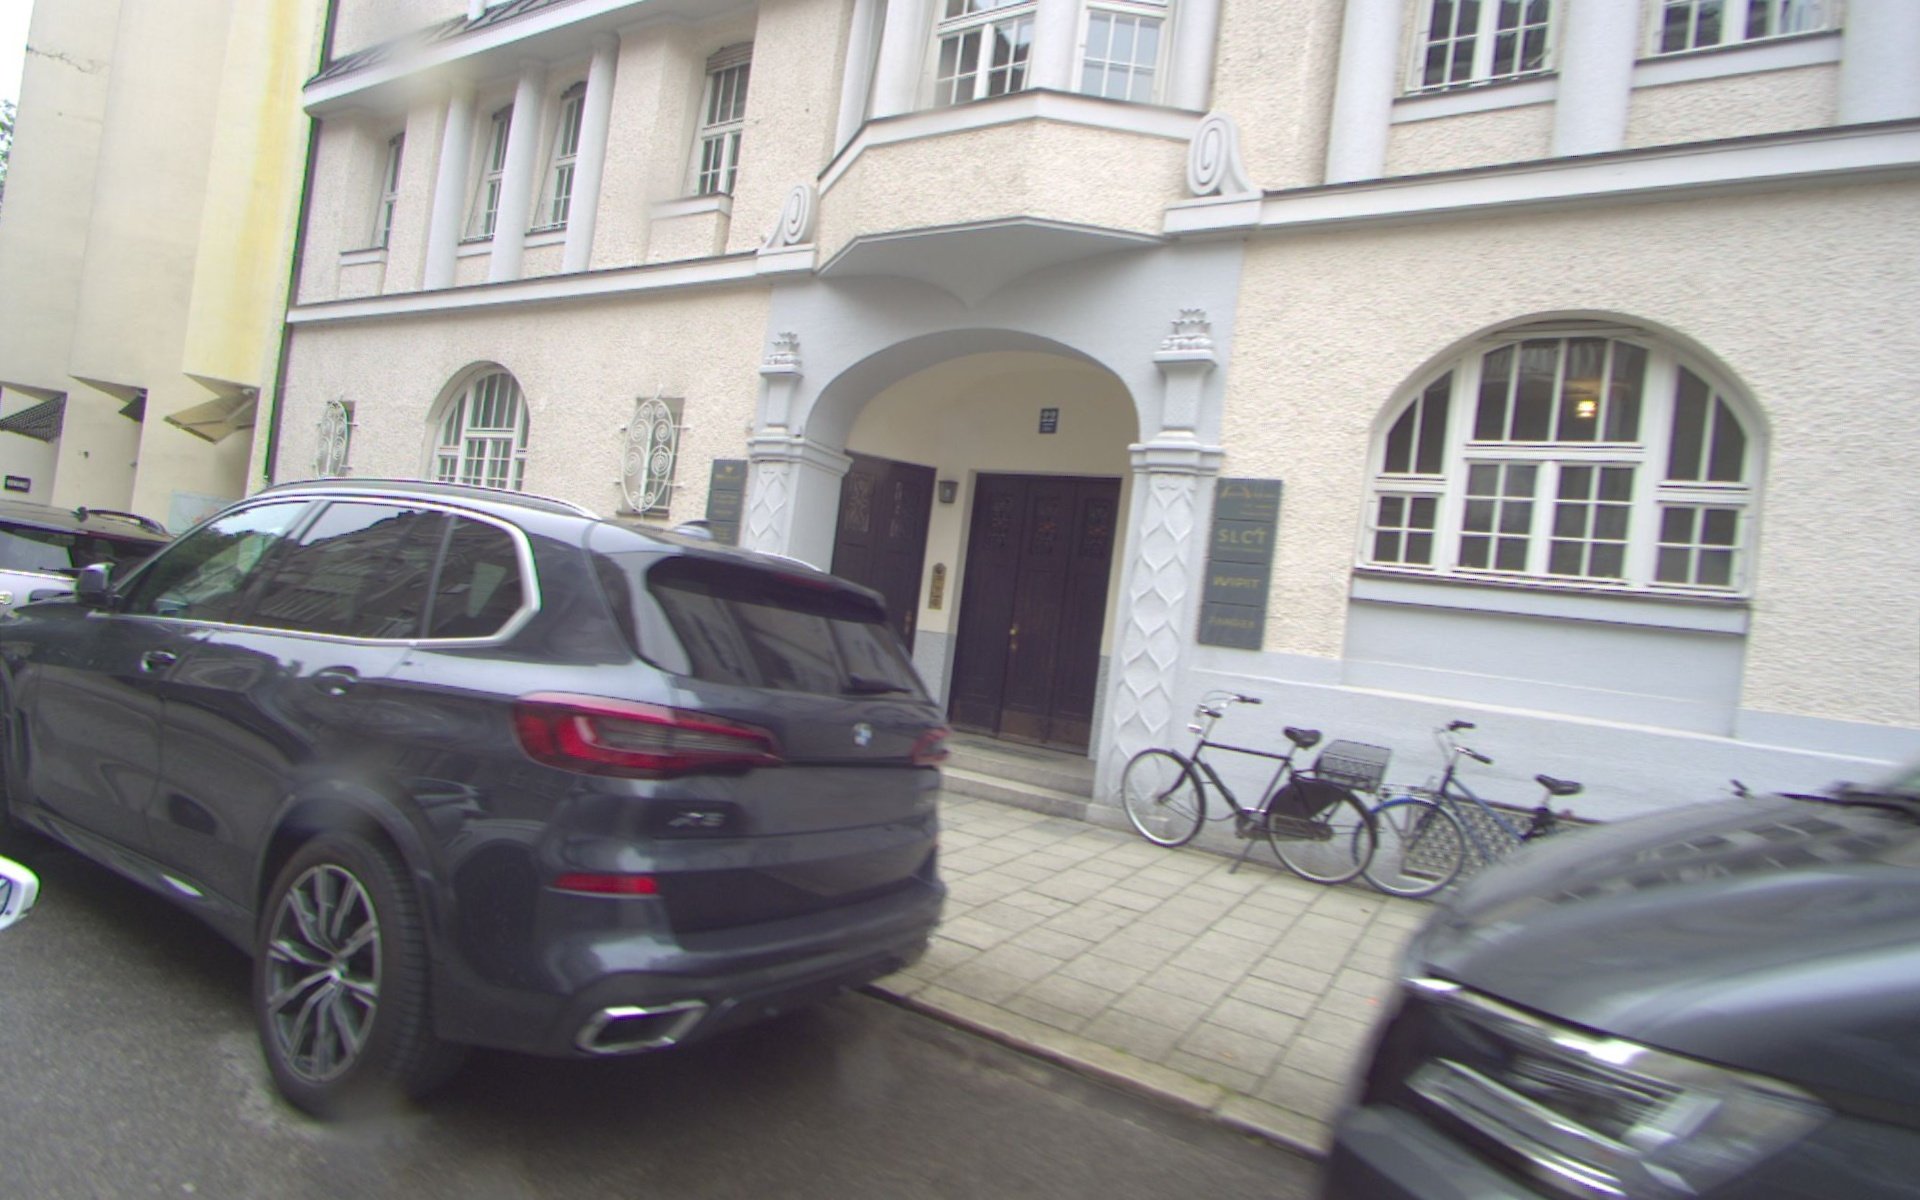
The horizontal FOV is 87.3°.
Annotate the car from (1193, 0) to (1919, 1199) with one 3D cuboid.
[{"bbox_3d":[3.538,0.488,0.823,6.031,2.992,2.260,5,-3,31],"label":"car"}]

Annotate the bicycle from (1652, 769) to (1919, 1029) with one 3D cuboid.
[{"bbox_3d":[4.783,1.600,5.295,1.759,1.082,0.389,6,0,32],"label":"bicycle"}]

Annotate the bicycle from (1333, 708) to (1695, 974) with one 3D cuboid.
[{"bbox_3d":[3.288,1.368,6.098,1.763,1.164,0.481,6,-2,41],"label":"bicycle"}]

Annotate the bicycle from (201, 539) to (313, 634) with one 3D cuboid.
[{"bbox_3d":[-10.253,-0.204,14.661,1.648,1.208,0.564,7,1,27],"label":"bicycle"}]

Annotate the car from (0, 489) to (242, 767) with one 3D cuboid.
[{"bbox_3d":[-7.083,0.022,7.104,3.900,1.610,1.638,6,-2,29],"label":"car"}]

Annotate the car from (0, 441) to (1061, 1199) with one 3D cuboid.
[{"bbox_3d":[-2.177,0.462,4.118,4.597,1.707,1.998,6,-3,32],"label":"car"}]

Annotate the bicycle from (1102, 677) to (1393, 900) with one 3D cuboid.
[{"bbox_3d":[1.947,1.232,6.936,1.757,1.165,0.482,6,1,29],"label":"bicycle"}]
